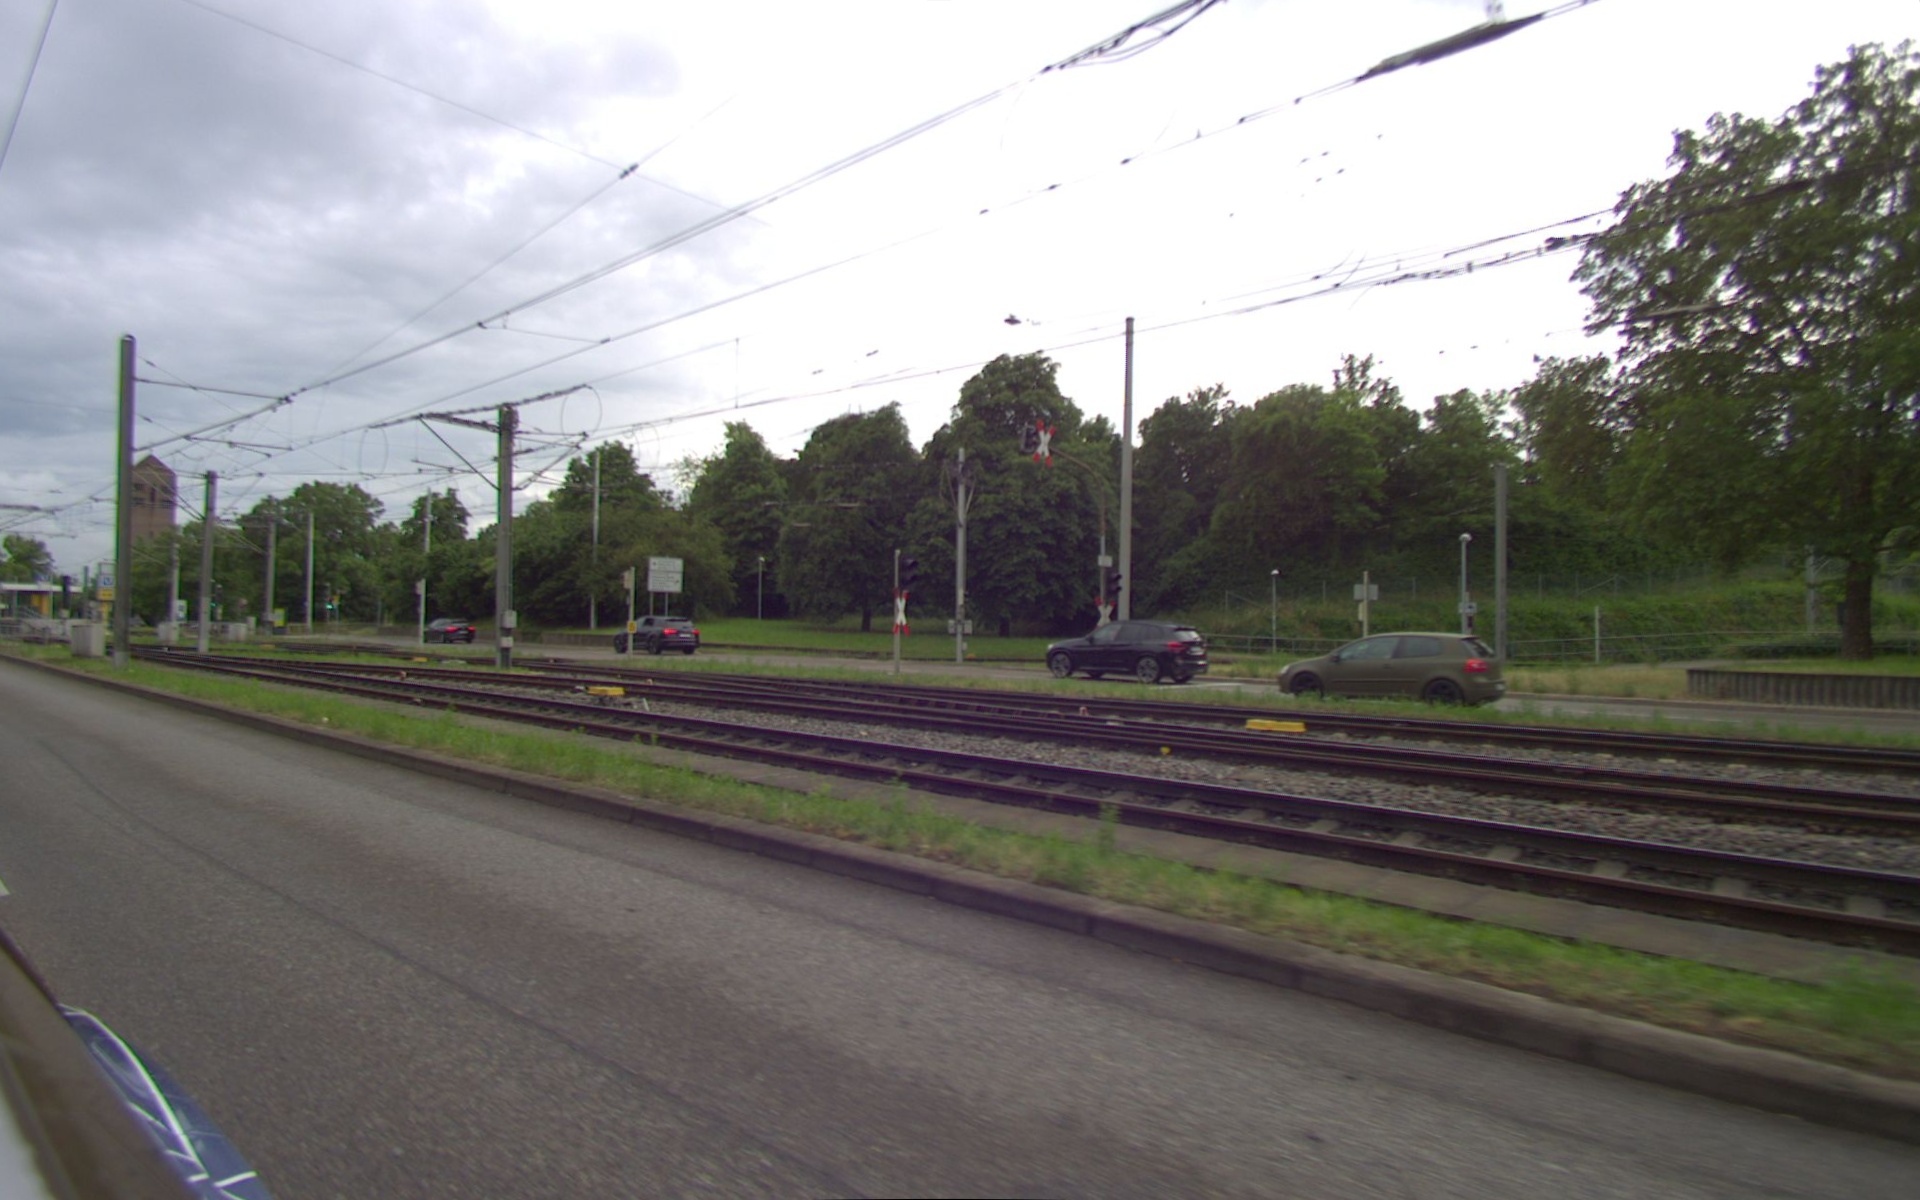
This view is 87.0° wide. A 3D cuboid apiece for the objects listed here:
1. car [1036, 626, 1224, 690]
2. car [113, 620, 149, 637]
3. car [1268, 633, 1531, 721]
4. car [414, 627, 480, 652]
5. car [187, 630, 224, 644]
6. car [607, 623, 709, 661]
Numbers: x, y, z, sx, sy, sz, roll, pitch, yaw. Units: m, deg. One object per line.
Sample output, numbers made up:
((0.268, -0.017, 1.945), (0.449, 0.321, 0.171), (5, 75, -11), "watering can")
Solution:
((4.554, 1.529, 27.663), (4.847, 1.607, 1.926), (-1, -3, 43), "car")
((-87.764, 3.006, 107.111), (4.859, 1.752, 2.061), (-1, -3, 41), "car")
((8.421, 1.406, 19.625), (4.309, 1.498, 1.870), (-1, -3, 44), "car")
((-30.617, 2.345, 60.334), (4.680, 1.458, 1.906), (-1, -3, 42), "car")
((-73.056, 3.592, 97.925), (4.471, 1.271, 1.907), (-1, -3, 41), "car")
((-13.573, 1.857, 45.279), (5.158, 1.601, 2.066), (-1, -3, 43), "car")
